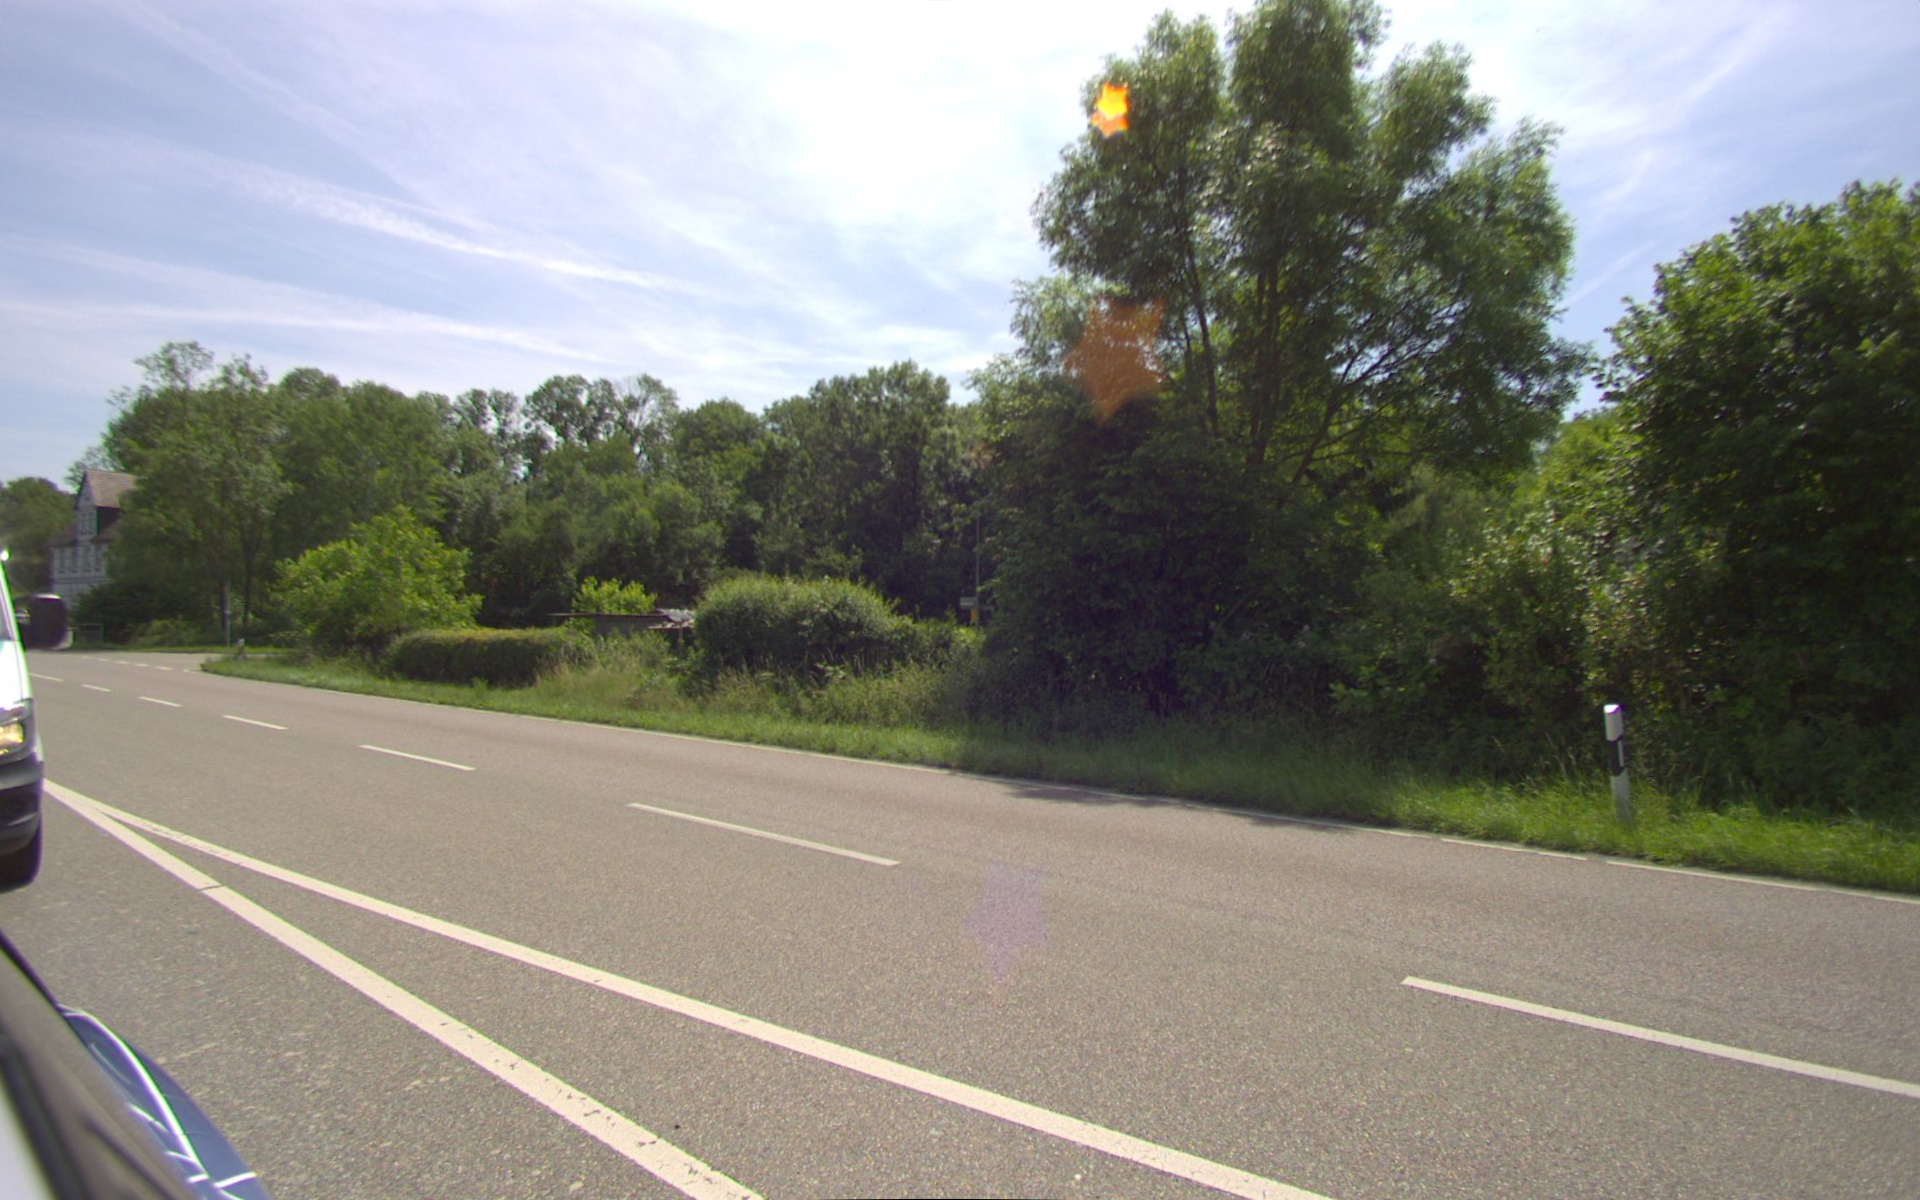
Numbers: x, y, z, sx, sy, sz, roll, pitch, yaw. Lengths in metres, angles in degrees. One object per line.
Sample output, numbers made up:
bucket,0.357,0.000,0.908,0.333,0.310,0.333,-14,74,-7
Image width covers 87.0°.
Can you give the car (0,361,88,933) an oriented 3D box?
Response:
car,-7.126,0.263,6.029,5.674,2.691,1.937,-1,-1,39
